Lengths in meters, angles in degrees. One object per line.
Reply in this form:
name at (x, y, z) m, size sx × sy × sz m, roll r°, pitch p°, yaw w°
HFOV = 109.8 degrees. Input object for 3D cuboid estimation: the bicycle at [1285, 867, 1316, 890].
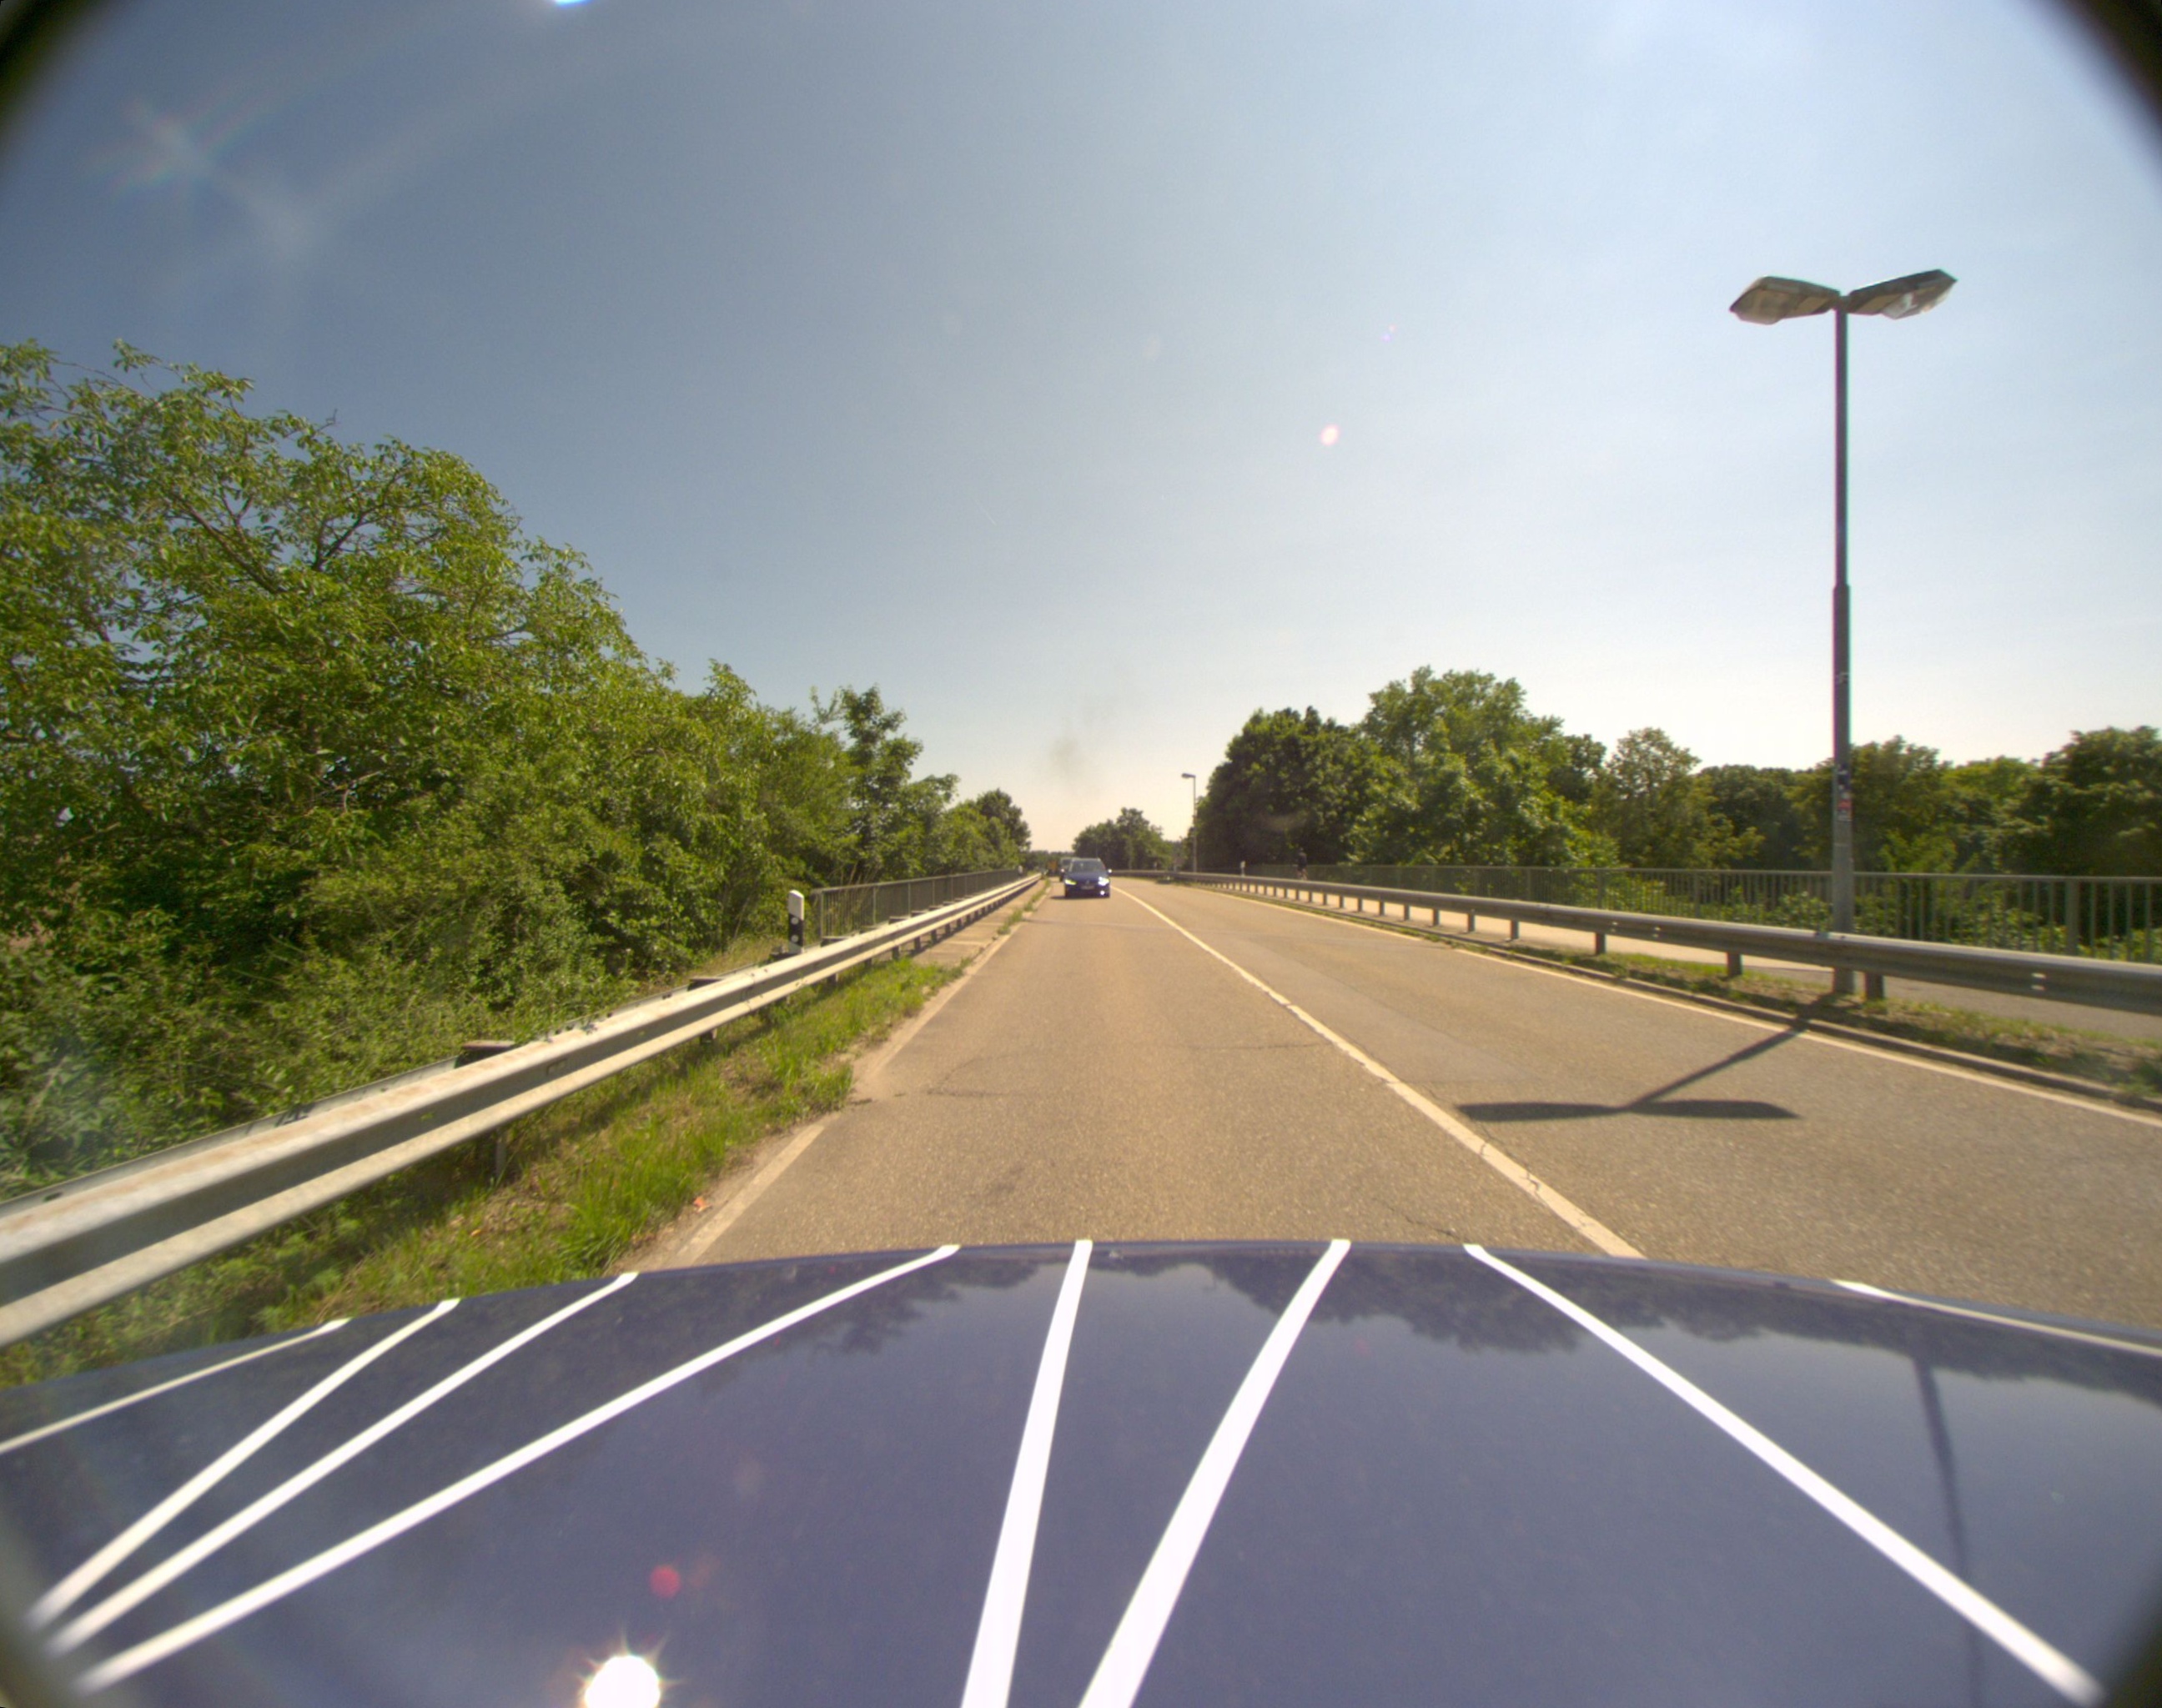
bicycle at (9.768, 1.061, 33.873) m, size 0.679 × 0.995 × 2.118 m, roll 0°, pitch -1°, yaw -3°

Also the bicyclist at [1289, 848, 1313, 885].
bicyclist at (9.761, 0.554, 33.730) m, size 0.767 × 1.624 × 0.895 m, roll -1°, pitch 0°, yaw -3°

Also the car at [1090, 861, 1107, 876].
car at (1.851, 1.482, 80.471) m, size 1.672 × 1.508 × 3.665 m, roll -1°, pitch 0°, yaw -1°

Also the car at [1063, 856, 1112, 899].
car at (0.302, 0.925, 30.935) m, size 1.828 × 1.591 × 4.196 m, roll -1°, pitch -1°, yaw 1°

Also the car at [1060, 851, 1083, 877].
car at (-0.742, 0.810, 61.853) m, size 1.779 × 2.007 × 4.000 m, roll -1°, pitch 0°, yaw 0°
